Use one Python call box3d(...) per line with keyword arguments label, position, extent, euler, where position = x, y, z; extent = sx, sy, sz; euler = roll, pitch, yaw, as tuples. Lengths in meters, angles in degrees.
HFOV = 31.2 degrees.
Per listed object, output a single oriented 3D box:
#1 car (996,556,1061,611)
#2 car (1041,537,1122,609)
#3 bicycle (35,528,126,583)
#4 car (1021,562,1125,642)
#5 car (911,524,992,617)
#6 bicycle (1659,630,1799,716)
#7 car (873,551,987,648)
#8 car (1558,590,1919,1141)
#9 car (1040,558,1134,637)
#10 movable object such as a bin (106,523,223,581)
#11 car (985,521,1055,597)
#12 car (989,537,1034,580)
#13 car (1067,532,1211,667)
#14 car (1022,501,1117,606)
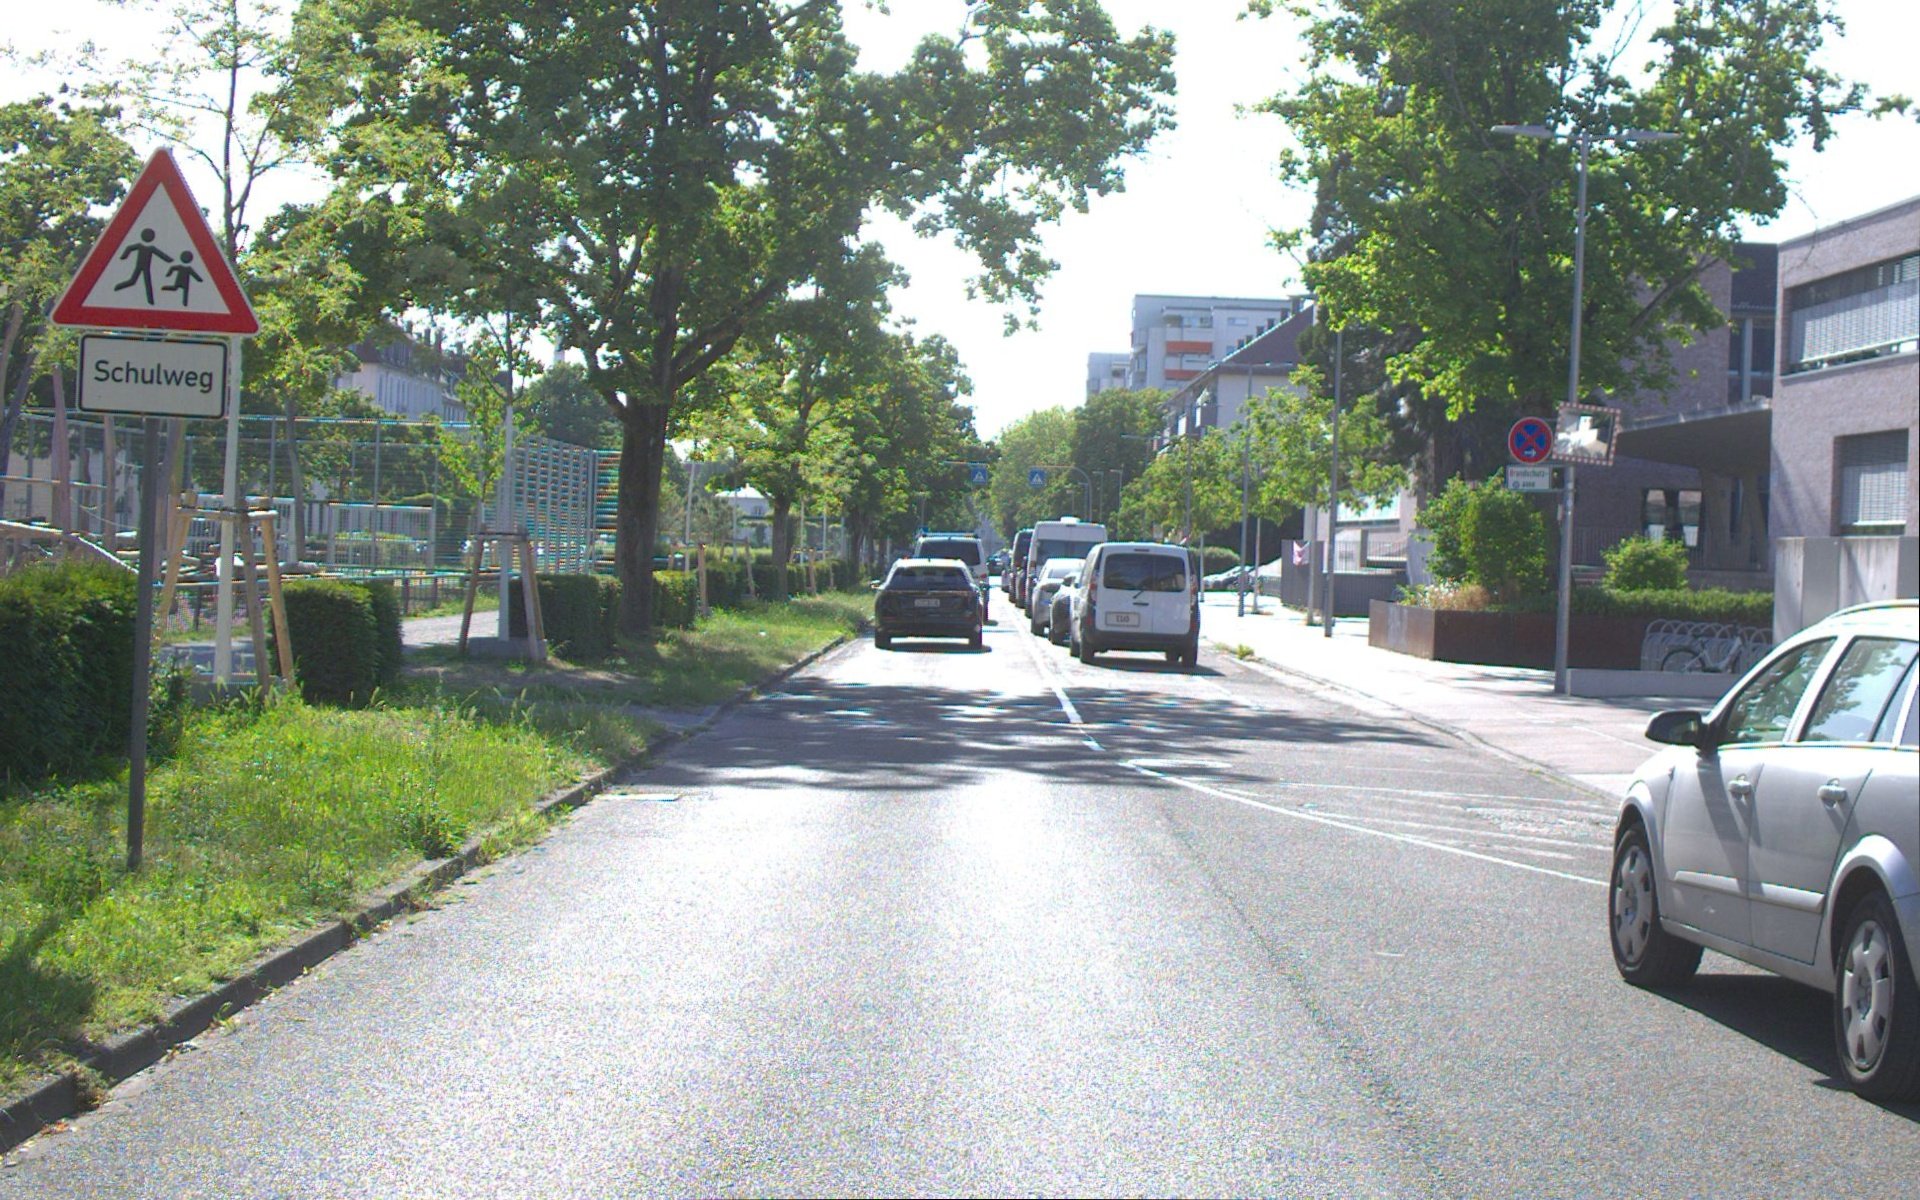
box3d(label="car", position=(2.116, -0.538, 107.109), extent=(1.846, 1.634, 4.504), euler=(2, 1, 0))
box3d(label="car", position=(2.845, -0.655, 81.139), extent=(1.619, 1.583, 3.592), euler=(2, 1, -2))
box3d(label="bicycle", position=(-18.923, -0.959, 74.010), extent=(1.794, 1.104, 0.500), euler=(2, 1, -1))
box3d(label="car", position=(2.039, 0.018, 62.861), extent=(1.701, 1.321, 4.129), euler=(3, 1, 0))
box3d(label="car", position=(-0.177, -0.713, 81.720), extent=(1.794, 2.115, 4.000), euler=(2, 1, 1))
box3d(label="bicycle", position=(10.128, 0.960, 45.290), extent=(1.668, 1.026, 0.500), euler=(3, 1, -2))
box3d(label="car", position=(-0.470, -0.037, 57.895), extent=(1.794, 1.505, 4.000), euler=(2, 1, 1))
box3d(label="car", position=(3.386, 0.778, 11.467), extent=(1.659, 1.460, 4.412), euler=(4, 1, -4))
box3d(label="car", position=(2.525, -0.074, 69.216), extent=(1.701, 1.473, 4.173), euler=(3, 1, 1))
box3d(label="movable object such as a bin", position=(-17.457, -1.059, 75.484), extent=(2.330, 1.238, 1.056), euler=(1, 1, -3))
box3d(label="car", position=(2.052, -1.423, 119.464), extent=(2.115, 2.507, 6.532), euler=(2, 1, -1))
box3d(label="car", position=(2.301, -1.852, 152.856), extent=(1.794, 1.848, 4.413), euler=(2, 1, 2))
box3d(label="car", position=(2.700, -0.045, 52.874), extent=(1.808, 1.902, 4.462), euler=(3, 1, -1))
box3d(label="car", position=(2.824, -1.202, 89.610), extent=(2.241, 2.565, 5.432), euler=(3, 1, 1))
